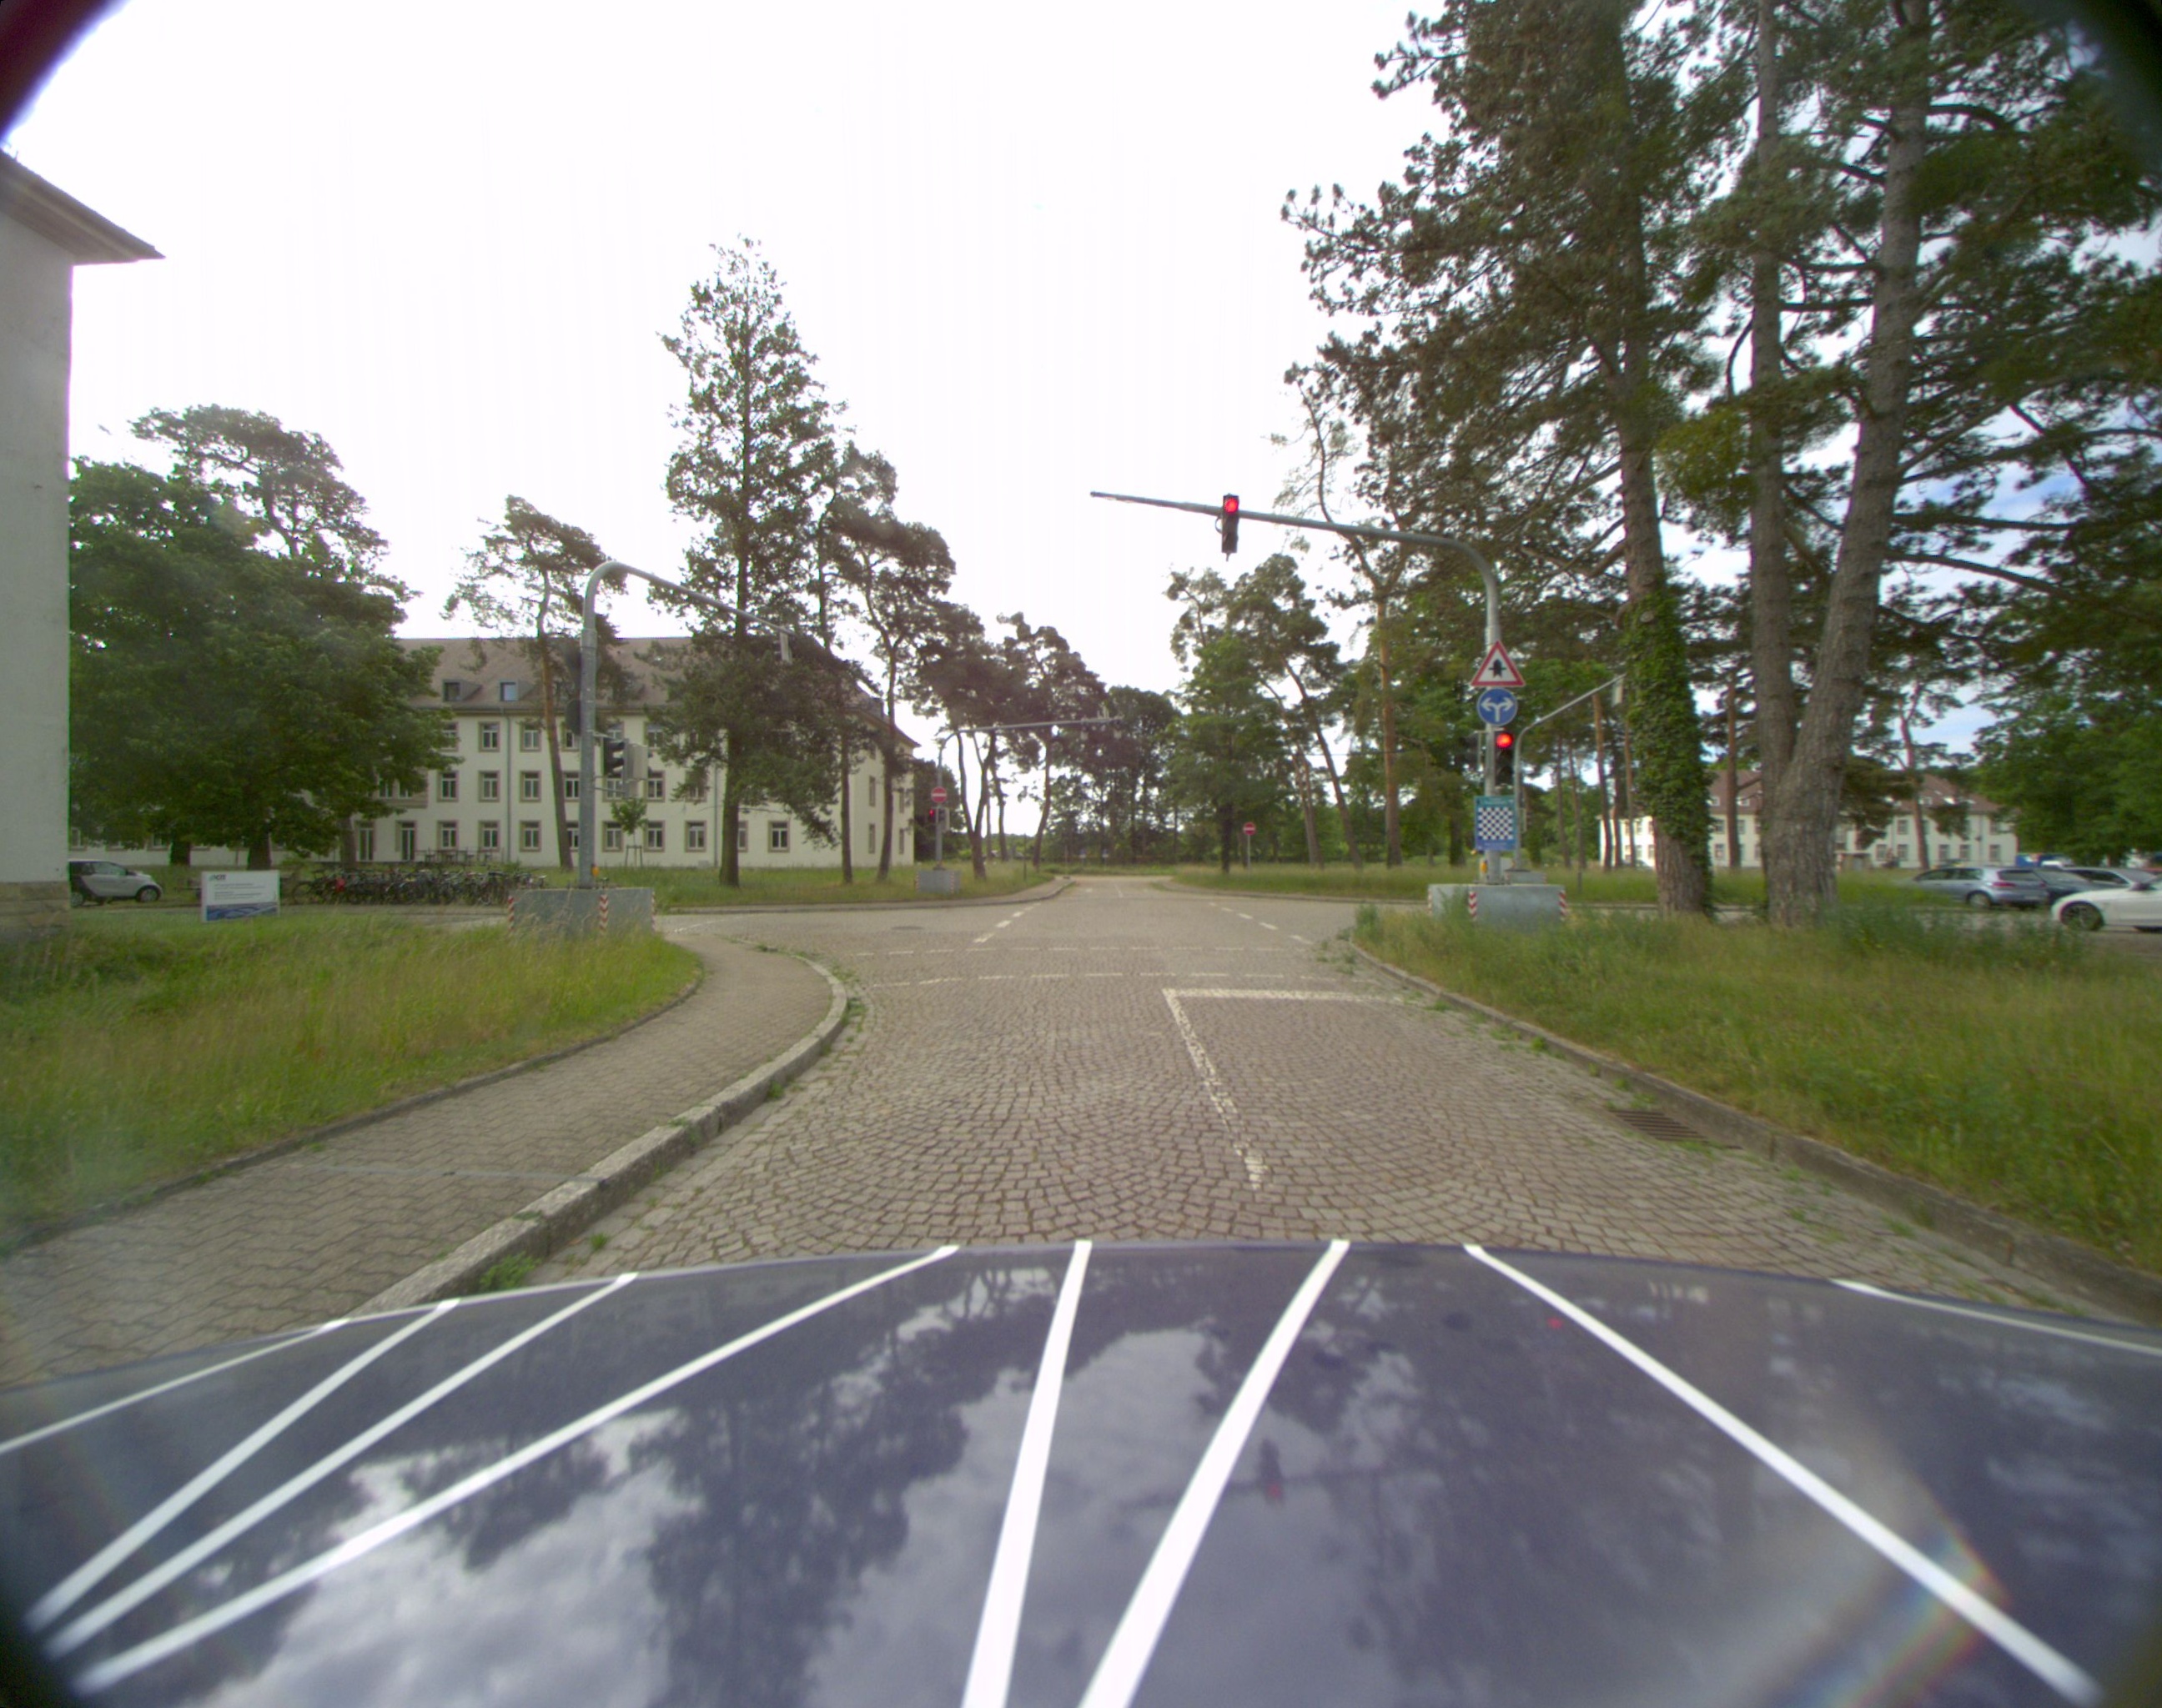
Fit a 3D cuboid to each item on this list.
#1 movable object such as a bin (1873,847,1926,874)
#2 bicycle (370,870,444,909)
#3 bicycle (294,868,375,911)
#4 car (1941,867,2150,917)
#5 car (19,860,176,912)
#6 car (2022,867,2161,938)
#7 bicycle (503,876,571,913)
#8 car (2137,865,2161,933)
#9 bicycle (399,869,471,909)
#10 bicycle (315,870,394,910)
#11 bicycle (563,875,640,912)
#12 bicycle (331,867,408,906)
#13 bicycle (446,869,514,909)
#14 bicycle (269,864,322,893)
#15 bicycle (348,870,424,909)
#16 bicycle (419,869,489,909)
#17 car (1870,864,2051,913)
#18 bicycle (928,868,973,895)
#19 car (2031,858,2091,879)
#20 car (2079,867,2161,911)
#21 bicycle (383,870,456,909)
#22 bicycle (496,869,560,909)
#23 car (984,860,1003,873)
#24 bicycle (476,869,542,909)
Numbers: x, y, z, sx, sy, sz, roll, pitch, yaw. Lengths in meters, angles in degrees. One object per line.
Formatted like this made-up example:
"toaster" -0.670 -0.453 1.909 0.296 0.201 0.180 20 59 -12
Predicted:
"movable object such as a bin" 116.576 1.026 108.291 2.050 3.747 5.467 0 -1 6
"bicycle" -21.808 1.127 24.641 0.624 1.240 1.989 0 -1 0
"bicycle" -24.208 1.133 24.685 0.624 1.241 1.988 0 1 0
"car" 33.485 1.262 26.624 1.662 1.376 4.441 0 2 1
"car" -32.493 1.004 25.204 1.470 1.549 2.857 1 1 2
"car" 23.533 1.039 15.869 1.865 1.479 4.756 1 -2 0
"bicycle" -16.533 1.224 23.090 1.675 1.076 0.625 0 -1 6
"car" 26.085 0.988 15.855 1.872 1.588 4.377 0 -2 -3
"bicycle" -20.938 1.125 24.673 0.624 1.240 1.989 0 -1 0
"bicycle" -23.549 1.132 24.675 0.624 1.240 1.989 0 -1 0
"bicycle" -14.578 1.205 23.125 1.986 1.107 0.624 0 -1 5
"bicycle" -23.055 1.037 24.684 0.624 1.240 1.989 0 -1 0
"bicycle" -19.447 1.121 24.644 0.624 1.240 1.989 0 -1 0
"bicycle" -31.229 0.976 30.230 0.400 1.118 1.555 0 0 4
"bicycle" -22.541 1.130 24.698 0.624 1.240 1.989 0 -1 0
"bicycle" -20.306 1.123 24.657 0.624 1.240 1.989 0 -1 0
"car" 30.868 1.155 26.874 1.696 1.421 4.012 0 2 1
"bicycle" -5.237 1.105 30.528 1.675 0.965 0.582 2 2 6
"car" 113.554 1.655 88.076 4.443 2.350 1.864 0 -1 2
"car" 38.712 1.270 26.753 1.715 1.473 4.187 1 1 3
"bicycle" -21.463 1.127 24.697 0.624 1.240 1.989 0 -1 0
"bicycle" -17.893 1.117 24.633 0.624 1.240 1.989 0 -1 0
"car" -9.229 1.341 80.666 1.487 1.428 3.197 0 -1 3
"bicycle" -18.521 1.118 24.643 0.624 1.240 1.989 0 -1 0
